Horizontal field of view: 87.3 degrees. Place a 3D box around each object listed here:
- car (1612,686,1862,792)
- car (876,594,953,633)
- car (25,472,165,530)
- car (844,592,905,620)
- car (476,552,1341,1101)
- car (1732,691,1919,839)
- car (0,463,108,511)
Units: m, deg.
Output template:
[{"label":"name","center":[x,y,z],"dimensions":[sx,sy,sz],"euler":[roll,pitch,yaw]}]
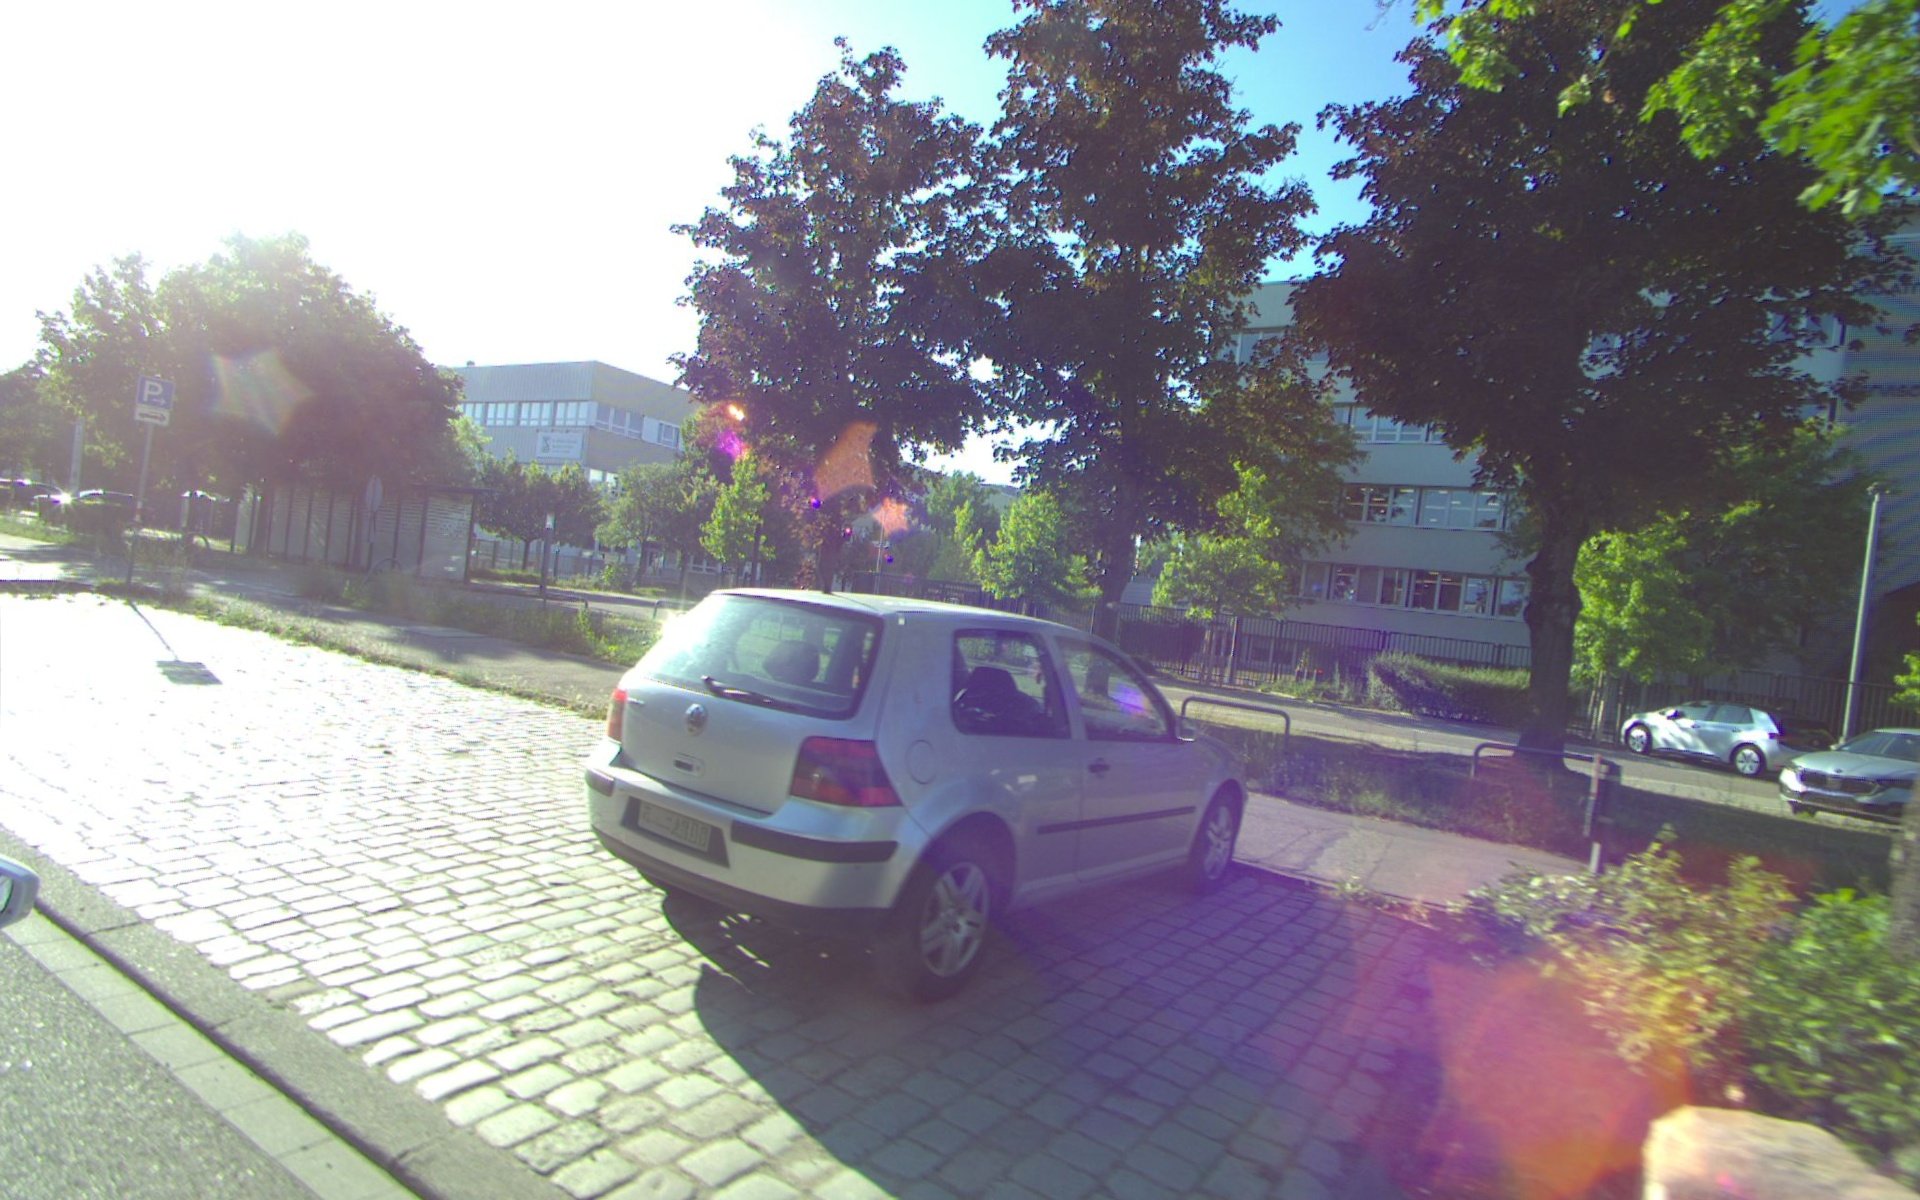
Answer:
[{"label":"car","center":[17.237,3.023,22.637],"dimensions":[1.737,1.546,4.296],"euler":[7,0,-8]},{"label":"car","center":[-2.435,0.713,53.673],"dimensions":[3.764,1.549,1.619],"euler":[8,1,33]},{"label":"car","center":[-40.180,-4.579,46.849],"dimensions":[2.025,1.725,4.439],"euler":[7,-2,32]},{"label":"car","center":[-5.942,0.431,69.832],"dimensions":[3.723,1.415,1.867],"euler":[8,0,33]},{"label":"car","center":[0.163,0.748,5.230],"dimensions":[1.971,1.498,4.351],"euler":[7,1,40]},{"label":"car","center":[13.626,2.402,14.153],"dimensions":[4.885,1.593,1.991],"euler":[7,0,-21]},{"label":"car","center":[-46.042,-5.704,50.657],"dimensions":[1.968,1.727,4.361],"euler":[8,0,35]}]
